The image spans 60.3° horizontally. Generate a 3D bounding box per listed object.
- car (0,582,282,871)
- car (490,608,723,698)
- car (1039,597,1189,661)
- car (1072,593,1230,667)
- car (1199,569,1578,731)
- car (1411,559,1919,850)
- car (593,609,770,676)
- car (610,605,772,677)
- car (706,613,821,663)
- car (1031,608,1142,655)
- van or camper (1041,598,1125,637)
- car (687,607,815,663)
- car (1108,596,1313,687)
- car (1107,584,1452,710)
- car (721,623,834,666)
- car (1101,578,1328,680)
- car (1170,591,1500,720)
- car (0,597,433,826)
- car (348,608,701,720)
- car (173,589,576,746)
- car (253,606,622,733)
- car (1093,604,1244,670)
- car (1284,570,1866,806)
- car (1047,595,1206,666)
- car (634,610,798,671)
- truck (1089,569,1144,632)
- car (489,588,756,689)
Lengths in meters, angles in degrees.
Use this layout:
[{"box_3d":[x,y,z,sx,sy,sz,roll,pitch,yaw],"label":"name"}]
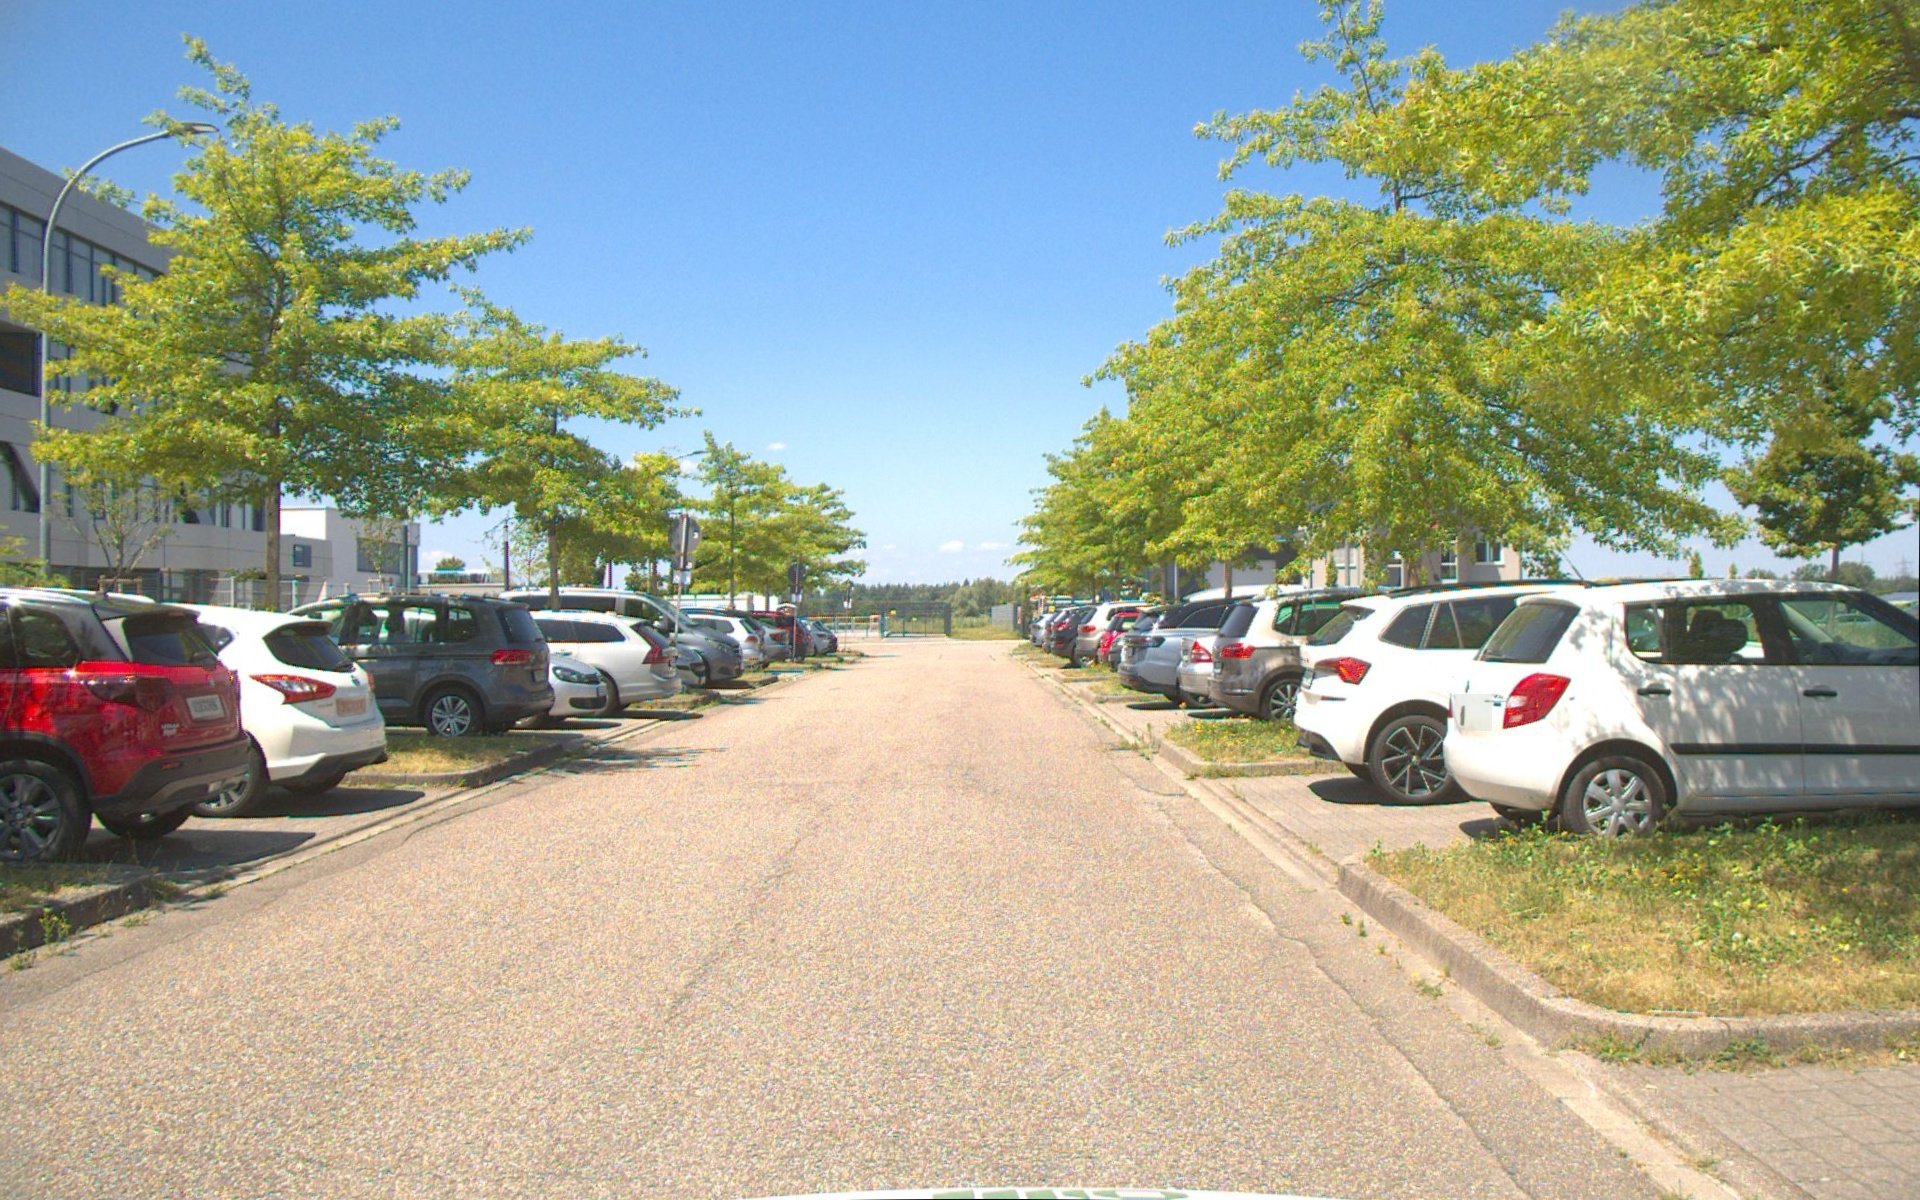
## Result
[{"box_3d":[-6.416,0.689,10.143,3.762,1.620,1.726,1,0,-3],"label":"car"},{"box_3d":[-6.488,0.953,30.624,3.887,1.510,1.764,2,-1,0],"label":"car"},{"box_3d":[4.737,0.897,51.369,4.360,1.799,1.992,-2,-1,-2],"label":"car"},{"box_3d":[4.841,0.759,42.354,3.796,1.707,1.782,-2,-1,0],"label":"car"},{"box_3d":[4.928,0.566,19.403,3.964,1.653,1.693,-2,-1,0],"label":"car"},{"box_3d":[4.883,0.567,10.066,3.756,1.551,1.779,-1,-1,0],"label":"car"},{"box_3d":[-6.611,1.008,39.554,3.957,1.486,1.603,2,-1,-3],"label":"car"},{"box_3d":[-6.829,1.037,42.272,3.909,1.708,1.775,2,-1,-5],"label":"car"},{"box_3d":[-6.332,1.234,53.595,3.584,1.535,1.730,1,-1,-4],"label":"car"},{"box_3d":[4.994,1.252,65.697,4.192,1.673,1.850,-2,-1,0],"label":"car"},{"box_3d":[7.315,1.024,99.053,4.836,2.201,2.000,-1,0,-1],"label":"van or camper"},{"box_3d":[-6.419,1.067,50.982,3.661,1.650,1.816,1,-1,0],"label":"car"},{"box_3d":[4.652,0.772,31.073,3.556,1.529,1.676,-2,-1,1],"label":"car"},{"box_3d":[4.643,0.673,24.464,4.623,1.588,1.912,-2,-1,-4],"label":"car"},{"box_3d":[-6.631,1.610,60.475,3.995,1.449,1.872,1,-1,-4],"label":"car"},{"box_3d":[5.126,0.589,33.709,4.312,1.862,1.796,-2,-1,1],"label":"car"},{"box_3d":[4.882,0.719,21.895,3.964,1.478,1.645,-2,-1,0],"label":"car"},{"box_3d":[-6.462,0.799,12.885,4.086,1.539,1.807,1,1,1],"label":"car"},{"box_3d":[-6.179,0.895,23.909,4.619,1.472,1.856,1,0,-3],"label":"car"},{"box_3d":[-6.713,0.753,19.273,4.034,1.663,1.727,1,0,-1],"label":"car"},{"box_3d":[-6.677,0.872,21.480,4.224,1.499,1.727,1,0,-3],"label":"car"},{"box_3d":[5.013,0.889,40.129,3.387,1.442,1.754,-2,-1,-1],"label":"car"},{"box_3d":[4.456,0.622,12.485,3.753,1.580,1.781,-2,0,5],"label":"car"},{"box_3d":[4.491,0.831,45.058,4.089,1.726,1.782,-2,-1,-1],"label":"car"},{"box_3d":[-6.535,1.073,44.621,4.107,1.506,1.712,2,-1,0],"label":"car"},{"box_3d":[10.423,0.071,110.801,2.862,3.998,6.934,-1,-1,-1],"label":"truck"},{"box_3d":[-6.778,0.773,33.604,4.965,1.925,1.997,1,-1,1],"label":"car"}]
